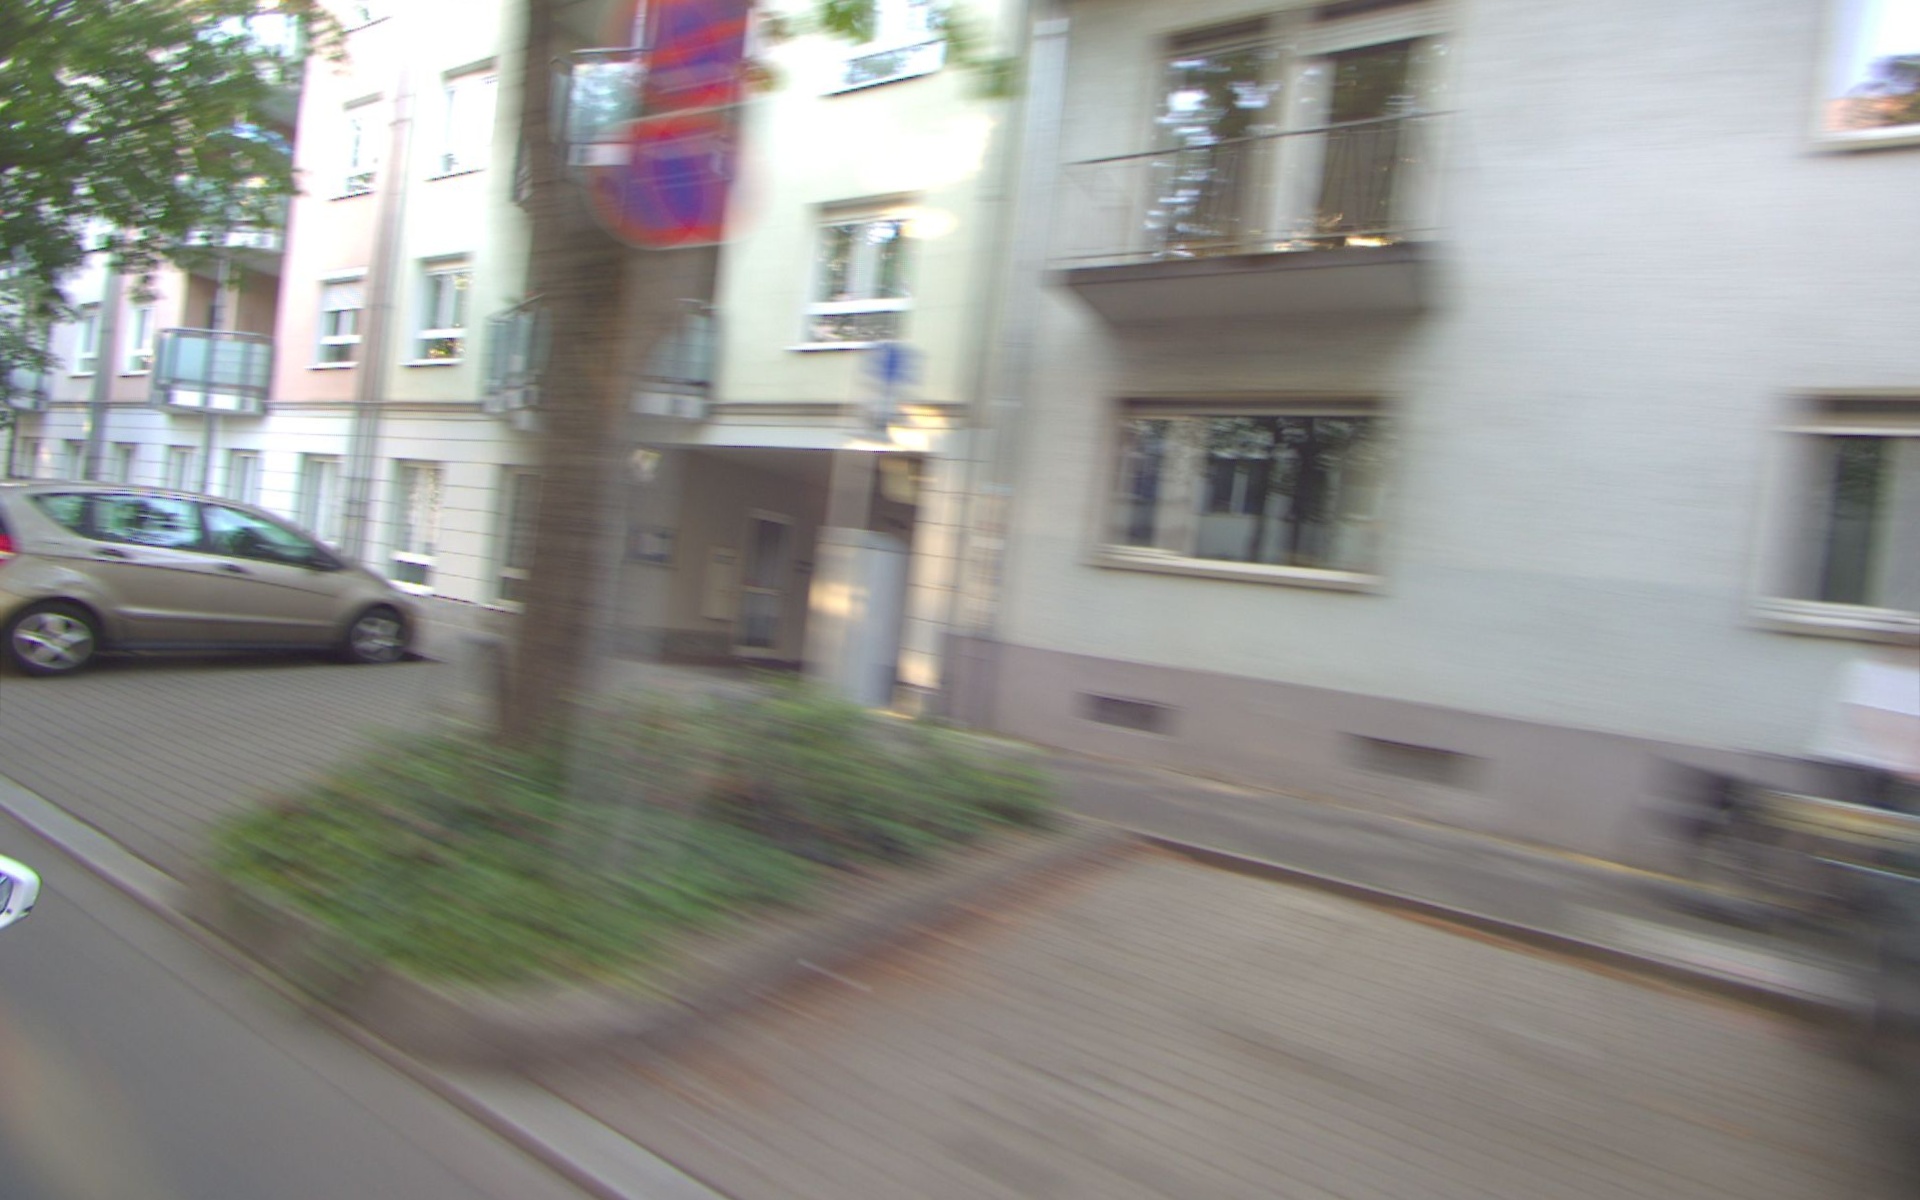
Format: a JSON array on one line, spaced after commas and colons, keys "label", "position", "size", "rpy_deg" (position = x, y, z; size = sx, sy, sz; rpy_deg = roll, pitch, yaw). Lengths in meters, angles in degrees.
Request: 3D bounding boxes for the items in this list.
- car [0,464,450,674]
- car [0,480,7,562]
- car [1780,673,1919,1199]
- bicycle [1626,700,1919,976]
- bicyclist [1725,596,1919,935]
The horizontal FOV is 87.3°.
[{"label": "car", "position": [-7.309, -0.278, 9.508], "size": [1.884, 1.606, 3.970], "rpy_deg": [7, 2, 31]}, {"label": "car", "position": [-18.993, -1.551, 16.781], "size": [1.901, 1.471, 4.087], "rpy_deg": [7, 2, 27]}, {"label": "car", "position": [3.459, 1.074, 2.378], "size": [1.980, 1.446, 4.454], "rpy_deg": [7, 2, 36]}, {"label": "bicycle", "position": [5.411, 1.347, 4.996], "size": [3.341, 1.178, 0.622], "rpy_deg": [7, 1, 27]}, {"label": "bicyclist", "position": [5.021, 0.877, 5.414], "size": [1.116, 1.624, 0.972], "rpy_deg": [7, 1, 27]}]
